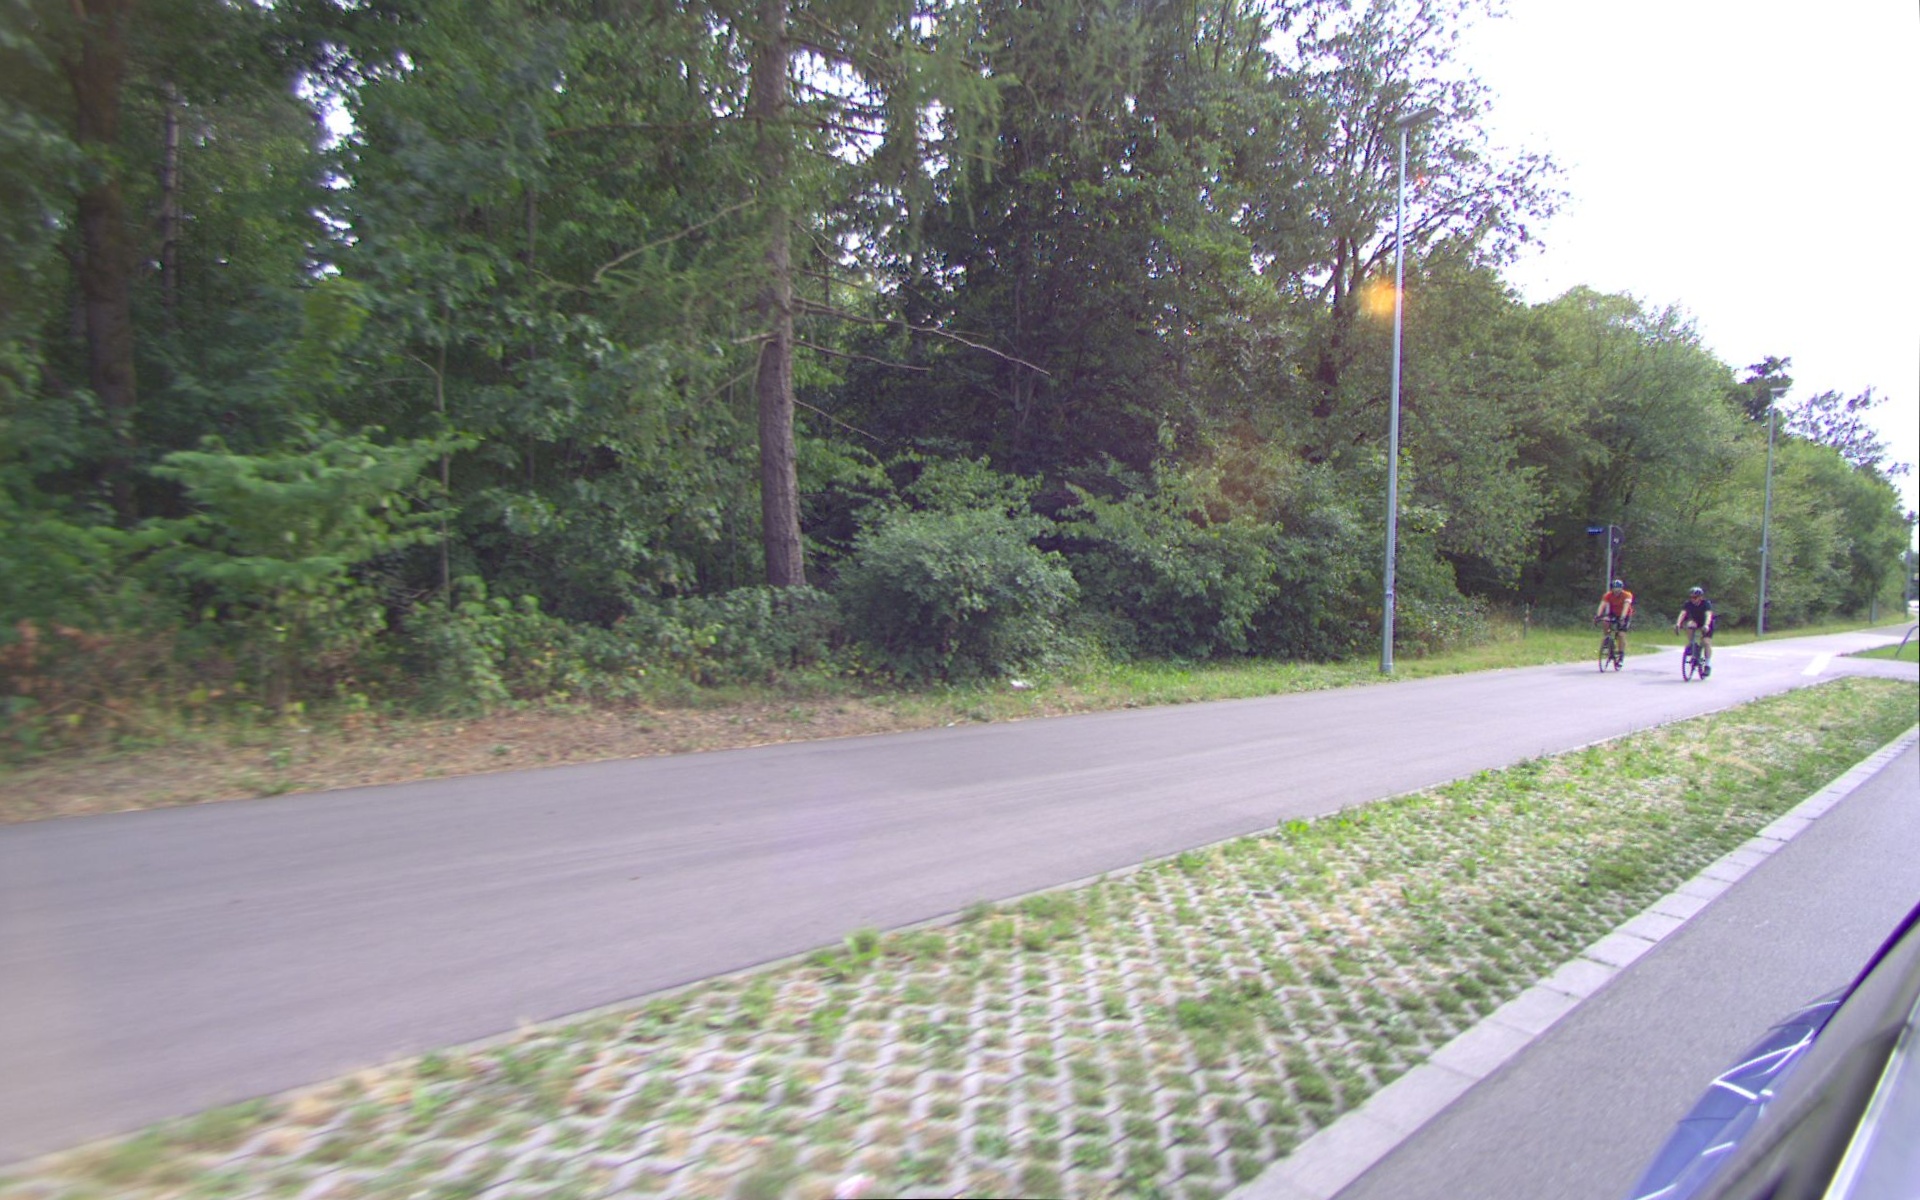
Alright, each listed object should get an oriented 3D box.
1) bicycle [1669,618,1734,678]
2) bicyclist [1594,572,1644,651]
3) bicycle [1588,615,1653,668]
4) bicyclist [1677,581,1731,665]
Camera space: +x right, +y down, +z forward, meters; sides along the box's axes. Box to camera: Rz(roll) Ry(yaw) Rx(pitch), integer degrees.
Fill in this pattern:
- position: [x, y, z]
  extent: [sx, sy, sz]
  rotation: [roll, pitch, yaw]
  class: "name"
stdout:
- position: [13.143, 0.828, 17.913]
  extent: [1.725, 0.922, 0.566]
  rotation: [-1, 4, -43]
  class: "bicycle"
- position: [12.264, 0.194, 18.832]
  extent: [1.166, 1.433, 0.520]
  rotation: [-1, 0, -43]
  class: "bicyclist"
- position: [12.299, 0.756, 18.833]
  extent: [1.855, 0.923, 0.566]
  rotation: [1, 1, -43]
  class: "bicycle"
- position: [13.183, 0.382, 17.922]
  extent: [1.166, 1.433, 0.520]
  rotation: [-1, 2, -43]
  class: "bicyclist"
